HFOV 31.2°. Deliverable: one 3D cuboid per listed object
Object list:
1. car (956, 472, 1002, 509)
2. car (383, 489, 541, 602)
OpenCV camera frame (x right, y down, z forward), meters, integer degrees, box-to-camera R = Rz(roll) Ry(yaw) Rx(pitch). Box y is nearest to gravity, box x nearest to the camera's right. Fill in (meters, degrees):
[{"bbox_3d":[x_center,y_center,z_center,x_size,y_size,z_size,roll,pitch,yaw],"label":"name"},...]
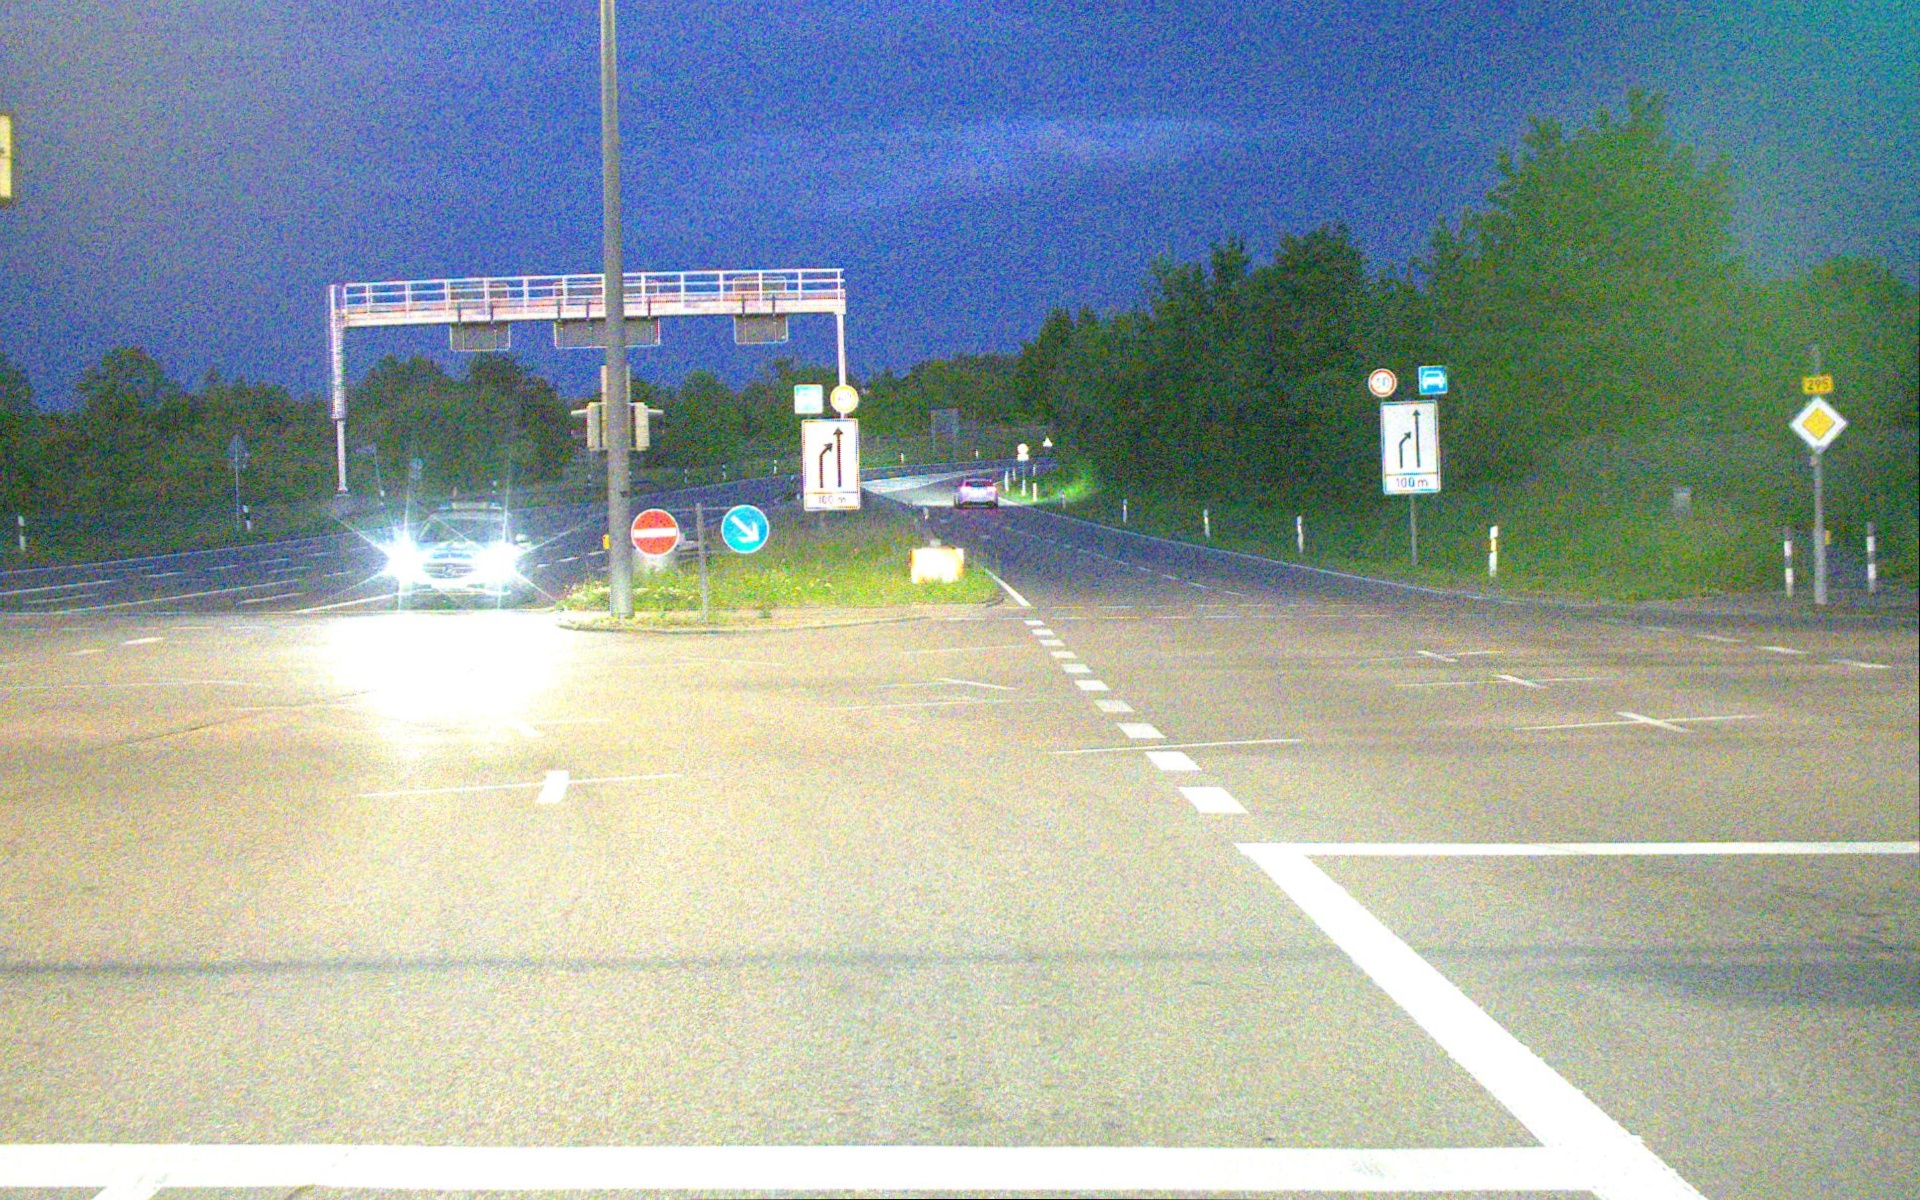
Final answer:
[{"bbox_3d":[0.867,-5.007,157.194,2.007,1.605,3.846,0,3,2],"label":"car"},{"bbox_3d":[-7.719,-0.876,53.647,1.993,1.692,4.001,0,2,-2],"label":"car"}]
